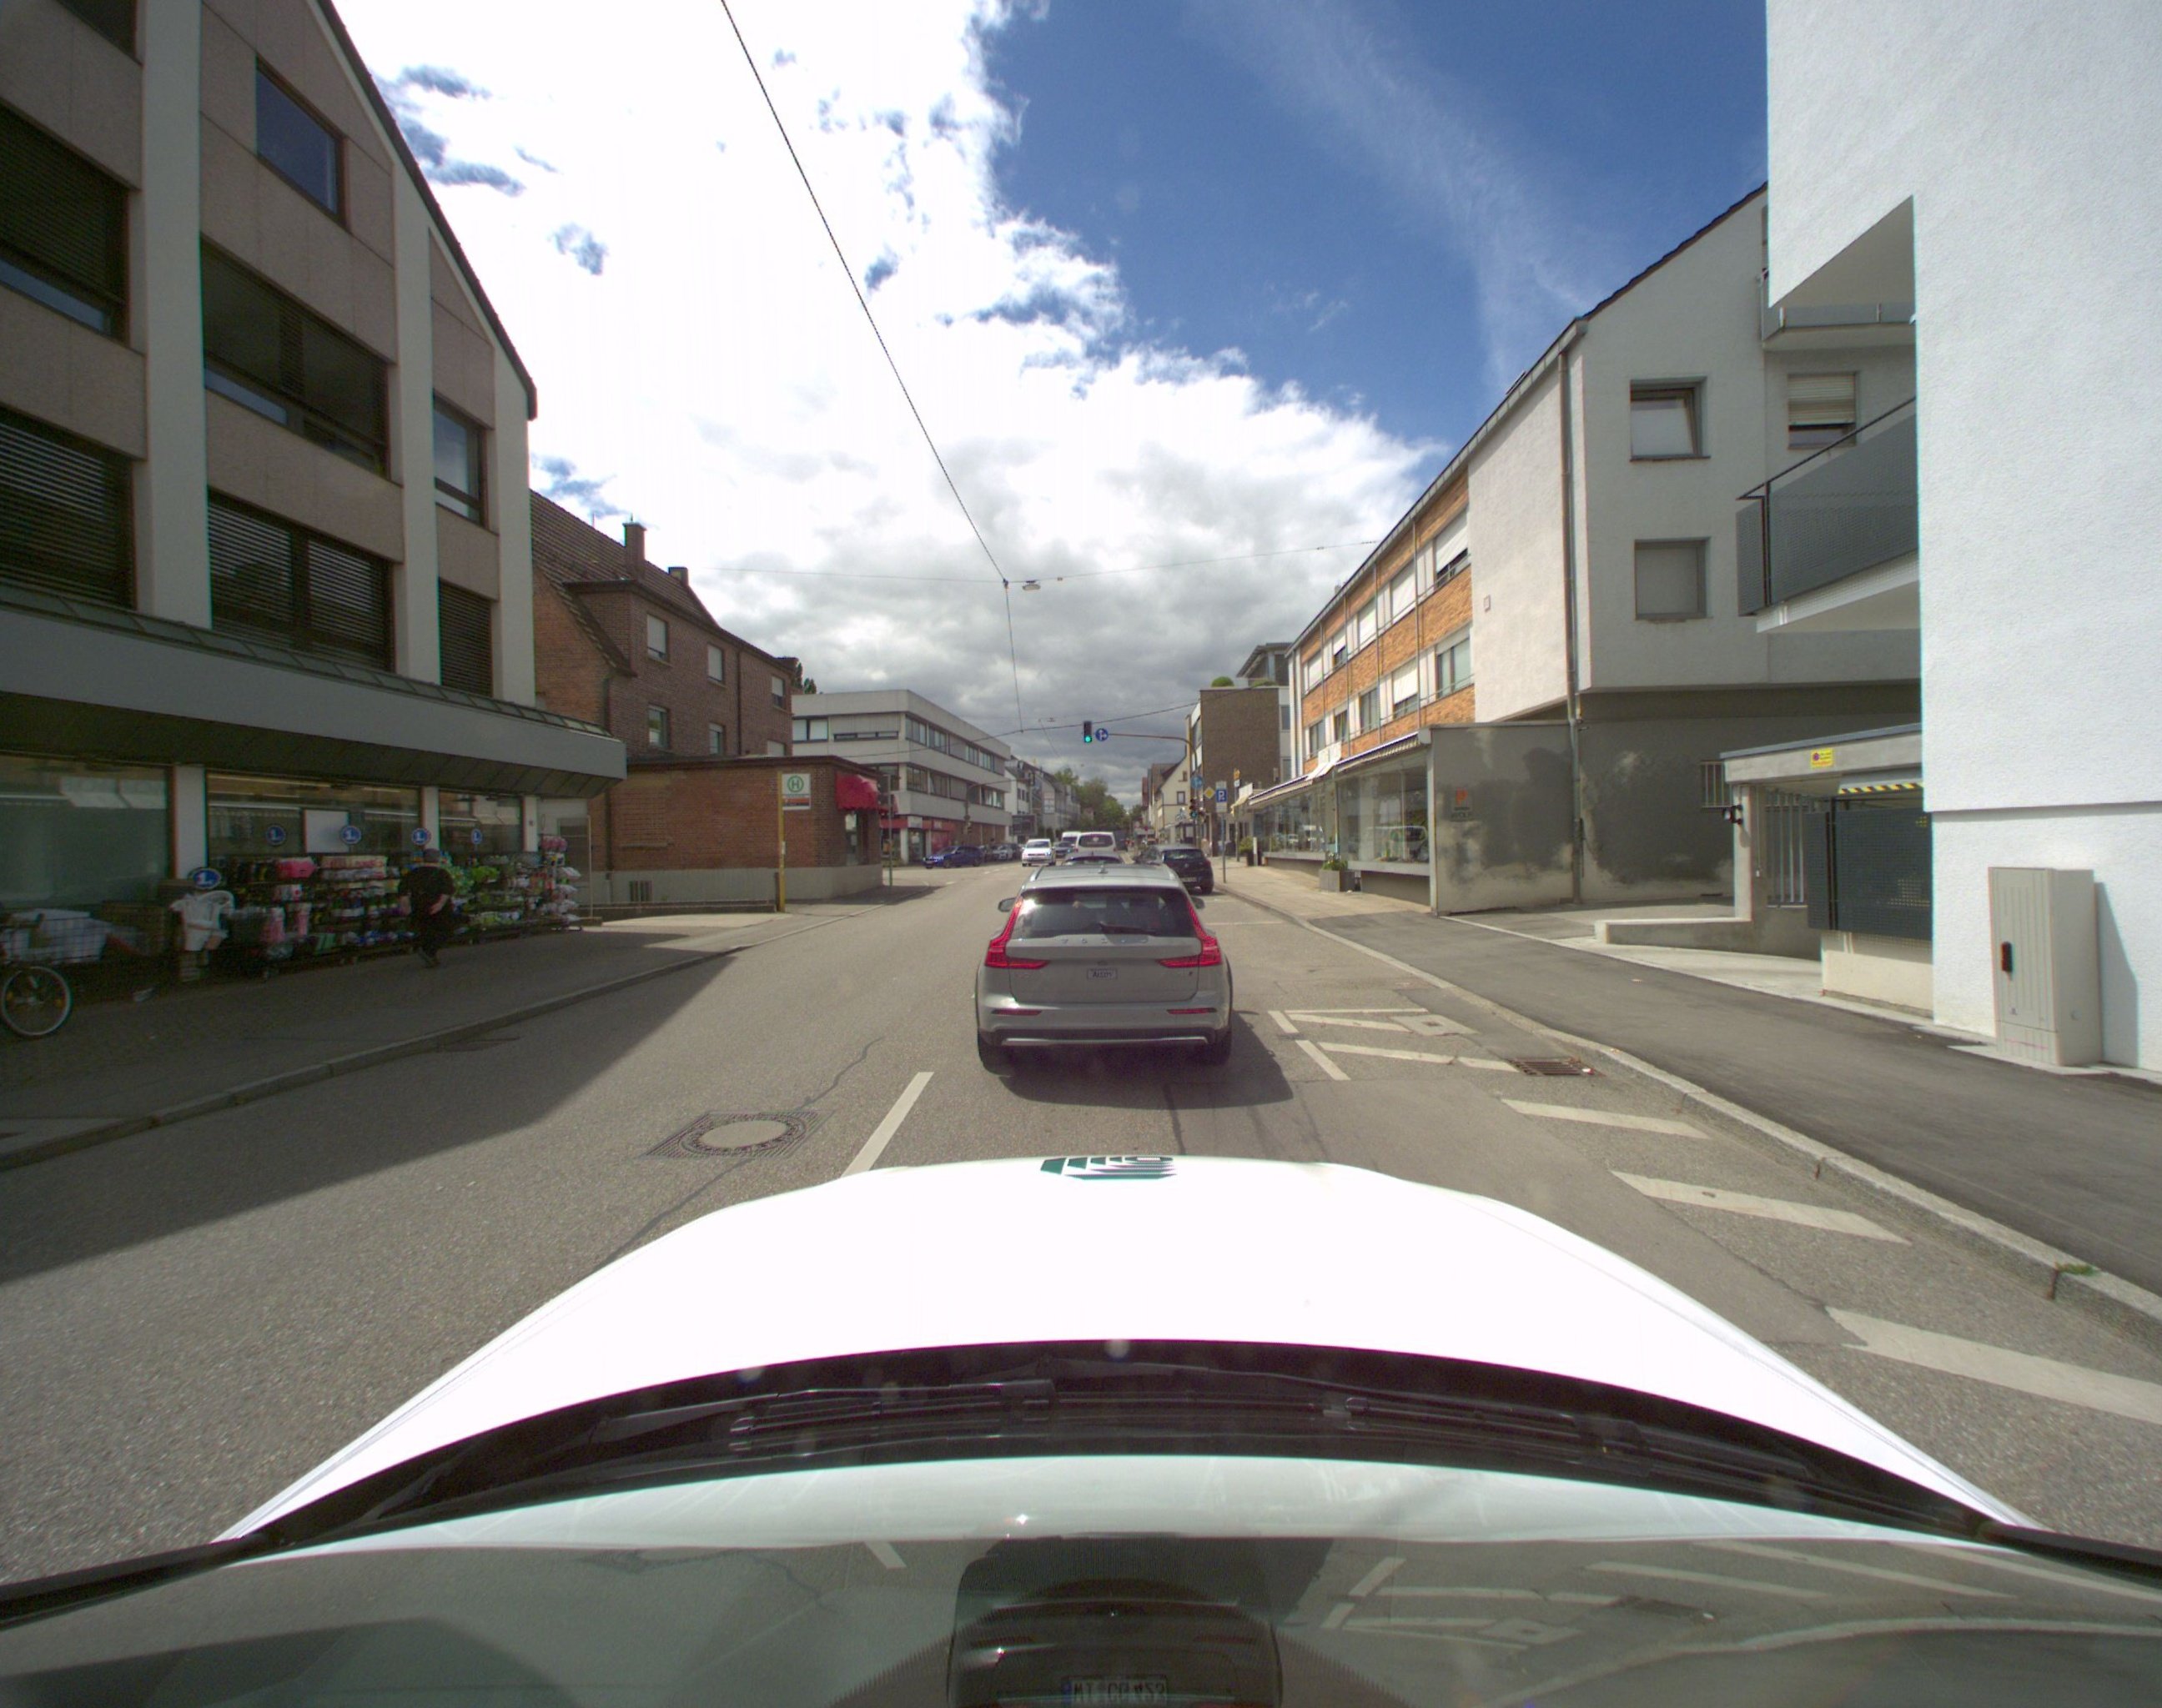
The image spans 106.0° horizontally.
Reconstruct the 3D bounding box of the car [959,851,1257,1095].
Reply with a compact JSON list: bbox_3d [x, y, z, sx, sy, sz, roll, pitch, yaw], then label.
[{"bbox_3d":[0.229,0.752,7.087,1.829,1.486,4.001,-1,0,2],"label":"car"}]

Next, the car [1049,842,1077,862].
[{"bbox_3d":[-1.398,-0.172,65.571,1.782,1.511,3.850,-1,0,5],"label":"car"}]

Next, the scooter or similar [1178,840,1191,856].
[{"bbox_3d":[8.429,-0.471,66.371,0.342,1.253,1.236,-4,0,-23],"label":"scooter or similar"}]

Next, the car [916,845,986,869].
[{"bbox_3d":[-8.366,0.189,52.724,1.974,1.337,4.385,-2,1,32],"label":"car"}]

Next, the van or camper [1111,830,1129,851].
[{"bbox_3d":[5.128,-1.768,106.692,2.114,2.686,4.785,-2,1,3],"label":"van or camper"}]

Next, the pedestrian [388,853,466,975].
[{"bbox_3d":[-8.685,0.772,10.835,0.776,1.558,0.567,1,-2,-39],"label":"pedestrian"}]

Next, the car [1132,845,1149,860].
[{"bbox_3d":[5.443,-0.117,74.463,1.433,1.287,3.249,-1,0,2],"label":"car"}]

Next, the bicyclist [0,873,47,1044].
[{"bbox_3d":[-8.956,0.836,6.384,0.664,1.337,0.762,3,0,1],"label":"bicyclist"}]

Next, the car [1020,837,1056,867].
[{"bbox_3d":[-2.537,-0.171,49.137,1.768,1.612,4.122,-3,1,2],"label":"car"}]

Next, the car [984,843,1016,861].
[{"bbox_3d":[-7.120,-0.204,71.650,1.894,1.443,4.451,0,1,6],"label":"car"}]

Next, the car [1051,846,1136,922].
[{"bbox_3d":[0.301,0.580,17.773,1.644,1.482,3.609,-1,0,2],"label":"car"}]

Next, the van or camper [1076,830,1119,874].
[{"bbox_3d":[0.762,-0.063,37.074,1.812,1.835,4.002,-1,0,2],"label":"van or camper"}]

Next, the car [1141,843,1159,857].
[{"bbox_3d":[8.009,-0.433,94.711,1.705,1.464,3.999,-1,-1,0],"label":"car"}]

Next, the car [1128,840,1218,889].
[{"bbox_3d":[2.706,0.300,24.677,1.806,1.346,3.707,-1,0,-8],"label":"car"}]

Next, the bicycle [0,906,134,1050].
[{"bbox_3d":[-8.798,1.020,6.452,0.442,1.050,1.735,5,0,2],"label":"bicycle"}]

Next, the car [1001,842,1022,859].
[{"bbox_3d":[-6.580,-0.338,77.538,1.601,1.543,2.947,0,1,3],"label":"car"}]

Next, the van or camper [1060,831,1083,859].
[{"bbox_3d":[-0.899,-0.939,80.989,2.141,2.556,5.438,-2,2,0],"label":"van or camper"}]

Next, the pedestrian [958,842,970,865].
[{"bbox_3d":[-8.434,-0.053,58.742,0.616,1.641,0.661,-2,1,3],"label":"pedestrian"}]

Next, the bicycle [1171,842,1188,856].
[{"bbox_3d":[8.433,-0.392,69.720,0.555,1.144,2.288,-2,1,-15],"label":"bicycle"}]

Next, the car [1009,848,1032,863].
[{"bbox_3d":[-6.194,0.154,83.734,1.747,1.426,3.867,-1,0,5],"label":"car"}]
